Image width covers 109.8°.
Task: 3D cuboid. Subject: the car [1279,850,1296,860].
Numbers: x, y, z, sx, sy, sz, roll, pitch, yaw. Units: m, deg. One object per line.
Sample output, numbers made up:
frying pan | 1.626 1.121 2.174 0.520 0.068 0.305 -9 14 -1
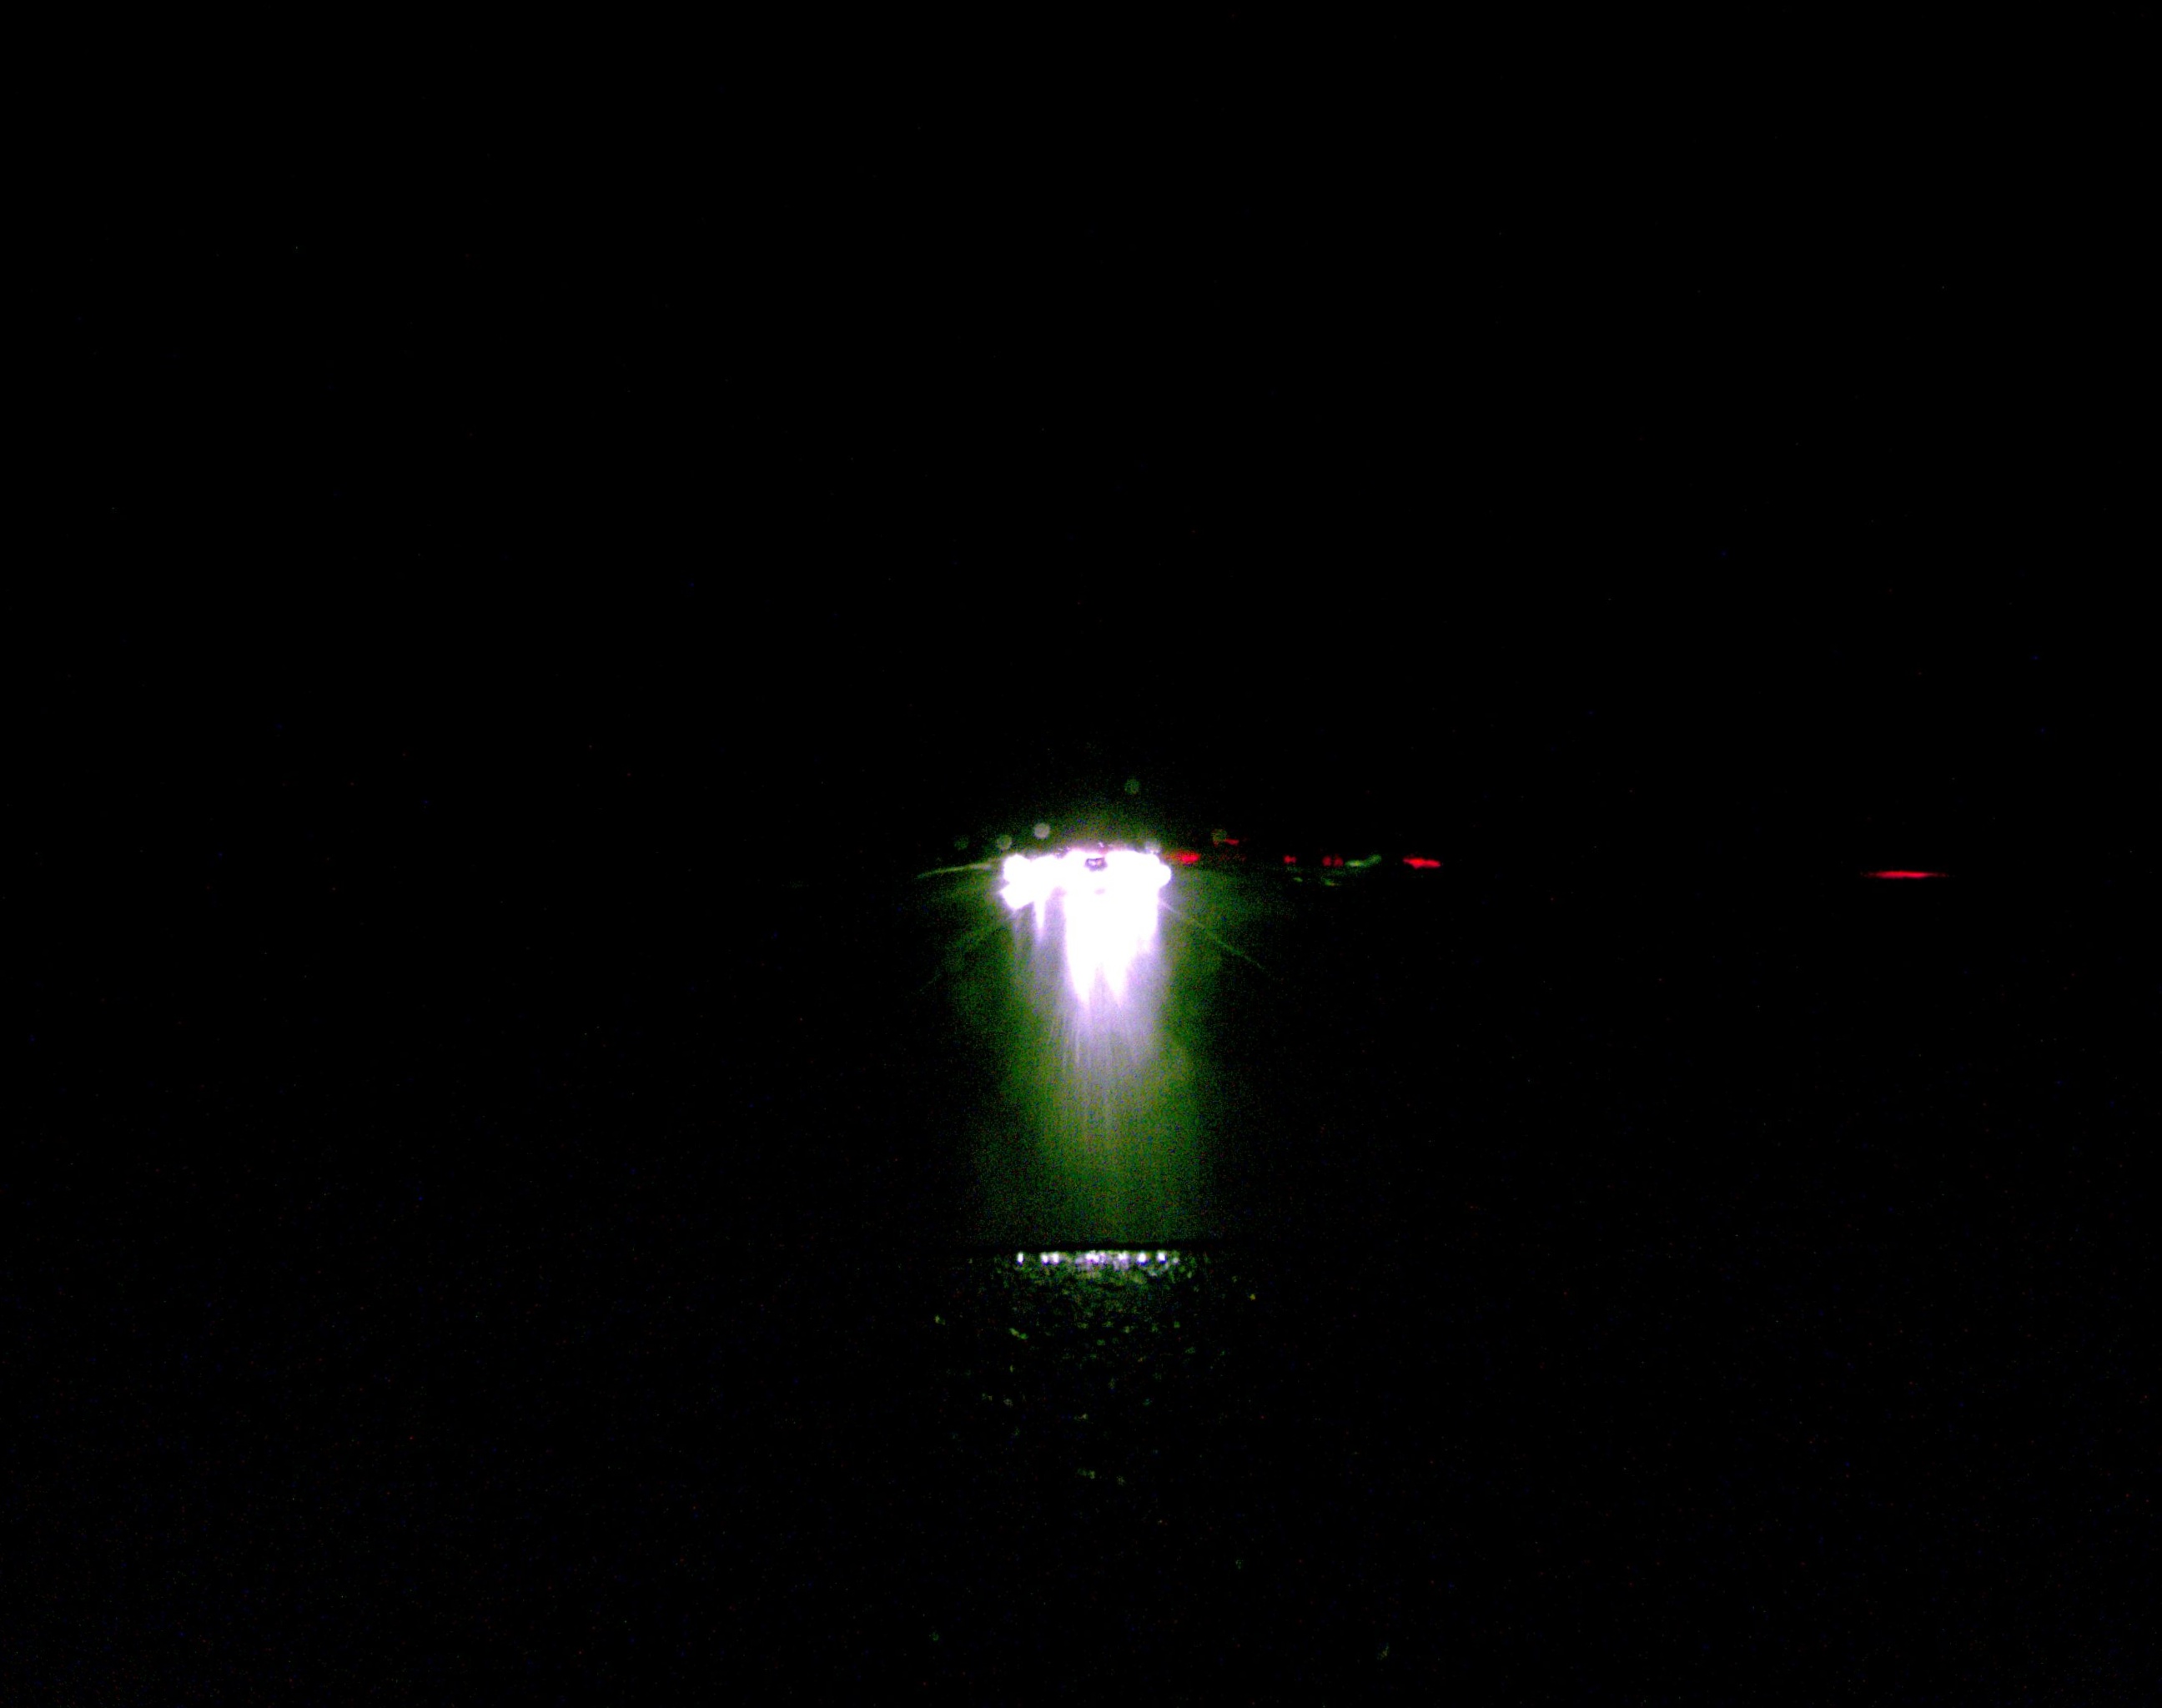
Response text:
car | 32.557 0.131 119.919 1.661 1.504 3.999 -2 1 1

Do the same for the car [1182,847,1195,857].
car | 18.078 -0.347 127.802 1.661 1.504 3.945 -2 1 1

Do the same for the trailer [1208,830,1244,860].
trailer | 26.143 -1.601 137.763 3.798 4.999 14.799 -2 1 1

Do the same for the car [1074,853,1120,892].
car | 0.725 0.806 35.841 1.960 1.655 4.915 -2 0 1

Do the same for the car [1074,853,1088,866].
car | -0.001 0.681 97.728 1.755 1.563 3.999 -2 1 1

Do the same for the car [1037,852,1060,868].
car | -3.531 0.636 83.289 1.998 1.590 4.653 -2 1 3

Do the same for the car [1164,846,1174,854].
car | 19.071 -0.877 164.353 1.661 1.504 3.999 -2 1 1

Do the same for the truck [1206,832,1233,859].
truck | 26.243 -1.694 144.451 3.798 4.881 6.477 -2 1 1

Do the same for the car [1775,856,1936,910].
car | 27.773 0.988 27.467 1.766 1.679 3.999 -2 1 1

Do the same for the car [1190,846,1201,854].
car | 21.930 -0.824 145.612 1.661 1.504 3.999 -2 1 1

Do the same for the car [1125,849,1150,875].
car | 4.241 0.570 57.317 1.611 1.775 3.910 -2 1 1

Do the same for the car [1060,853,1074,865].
car | -2.301 0.786 126.204 1.998 1.852 3.999 -2 1 1

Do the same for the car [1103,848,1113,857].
car | 5.277 -0.282 151.083 1.800 1.728 3.999 -2 1 1

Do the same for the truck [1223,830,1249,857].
truck | 34.560 -2.376 169.946 3.247 5.559 12.794 -2 1 1

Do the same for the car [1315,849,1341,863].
car | 28.631 0.217 88.171 1.661 1.504 3.999 -2 1 1

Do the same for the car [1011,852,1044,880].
car | -3.523 0.748 50.853 1.792 1.681 3.999 -2 1 1

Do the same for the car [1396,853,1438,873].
car | 28.540 0.746 64.633 1.805 1.564 3.999 -2 1 1
